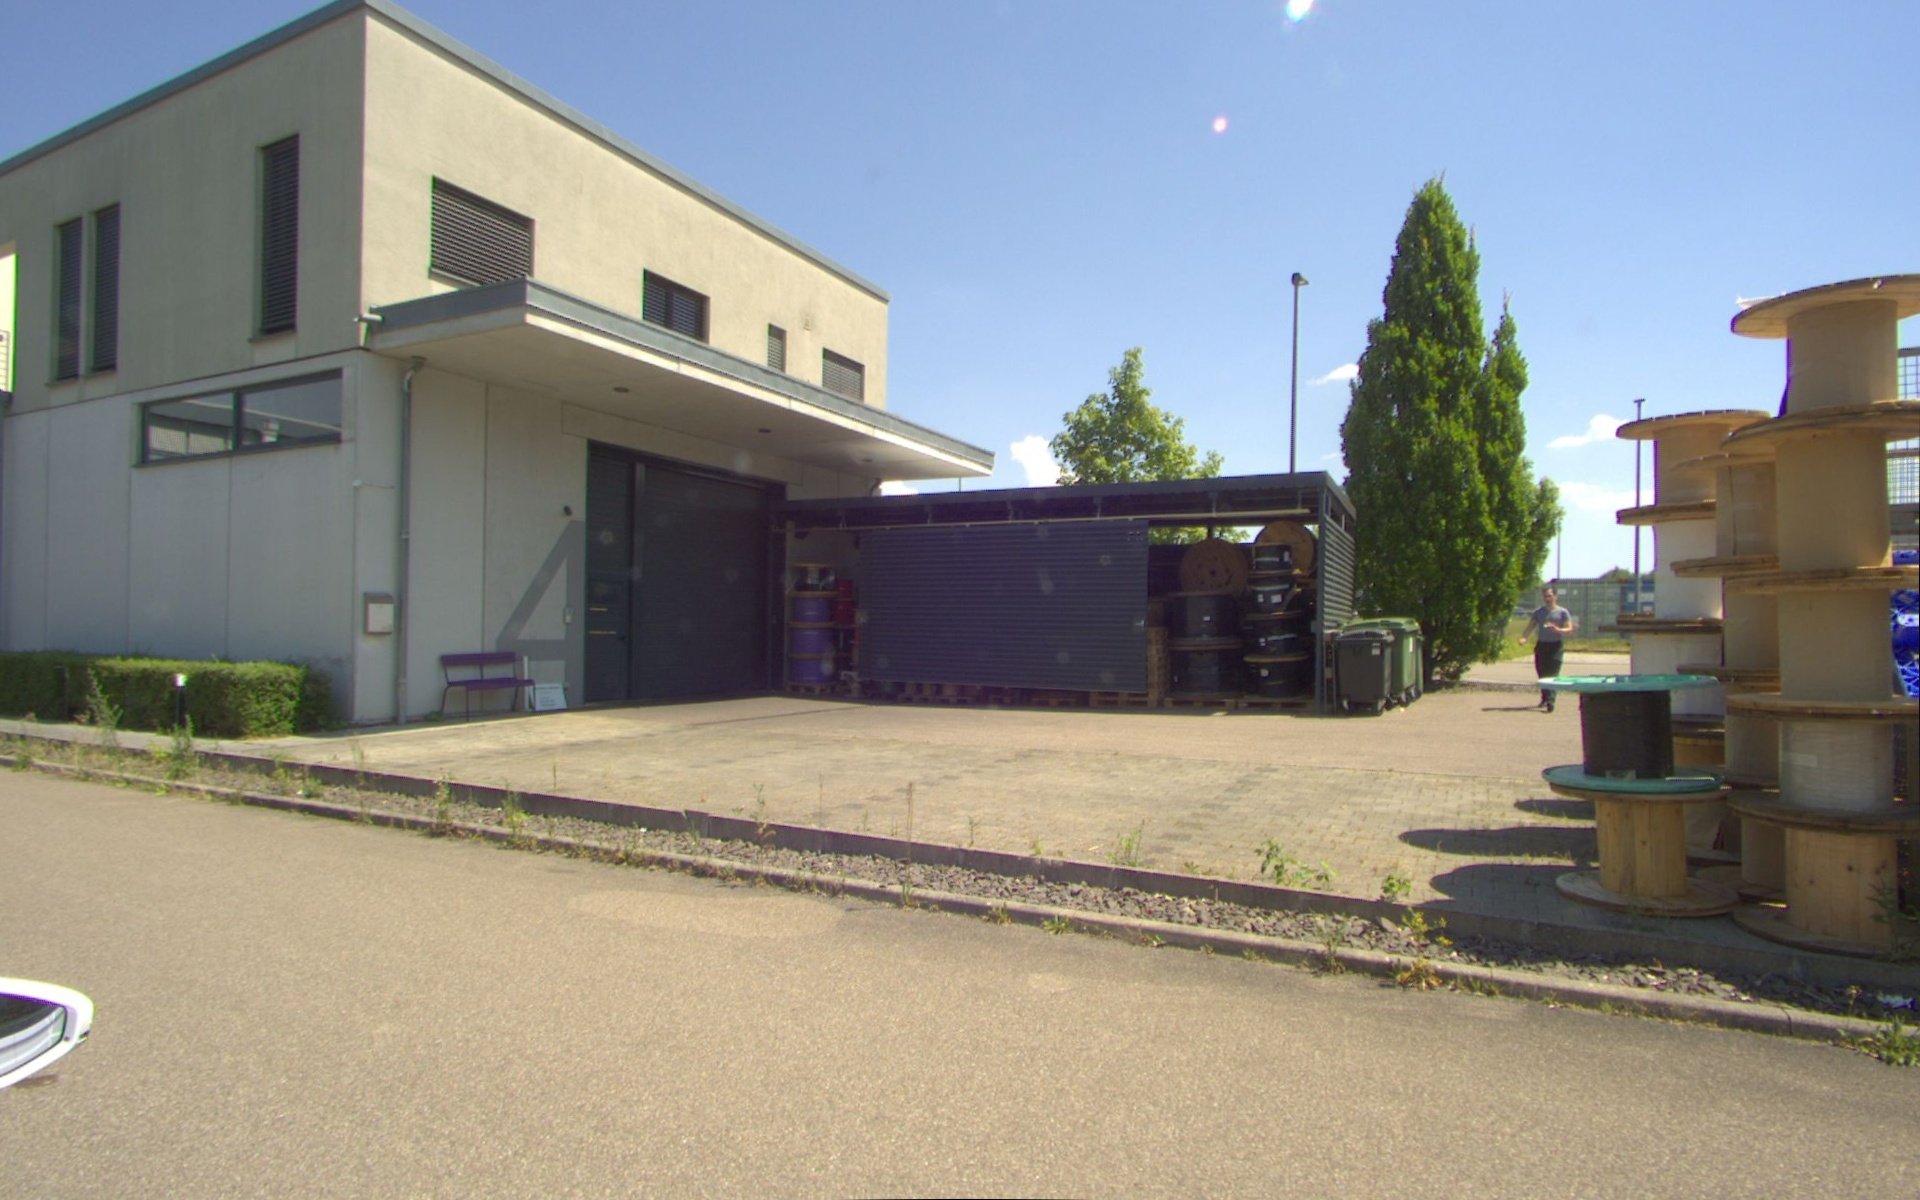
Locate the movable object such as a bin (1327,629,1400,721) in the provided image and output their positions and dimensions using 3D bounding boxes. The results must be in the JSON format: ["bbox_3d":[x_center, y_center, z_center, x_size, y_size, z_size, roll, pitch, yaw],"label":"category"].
[{"bbox_3d":[5.864,1.068,14.544,0.791,1.266,0.871,-1,-1,36],"label":"movable object such as a bin"}]

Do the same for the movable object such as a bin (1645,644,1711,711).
[{"bbox_3d":[10.490,1.125,14.645,0.537,0.929,0.585,-1,-1,3],"label":"movable object such as a bin"}]

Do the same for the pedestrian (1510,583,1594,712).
[{"bbox_3d":[8.552,0.664,14.471,0.758,1.792,0.804,0,0,-33],"label":"pedestrian"}]

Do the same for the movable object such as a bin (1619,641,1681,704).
[{"bbox_3d":[10.536,1.103,15.294,0.537,0.929,0.585,-1,-1,3],"label":"movable object such as a bin"}]

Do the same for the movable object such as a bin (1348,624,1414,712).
[{"bbox_3d":[6.562,1.042,15.613,0.791,1.315,0.751,-1,-1,36],"label":"movable object such as a bin"}]

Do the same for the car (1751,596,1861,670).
[{"bbox_3d":[21.628,0.803,25.557,1.832,1.728,3.962,-1,-1,45],"label":"car"}]

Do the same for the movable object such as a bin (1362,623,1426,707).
[{"bbox_3d":[7.065,1.042,16.307,0.791,1.315,0.805,-1,-1,36],"label":"movable object such as a bin"}]
